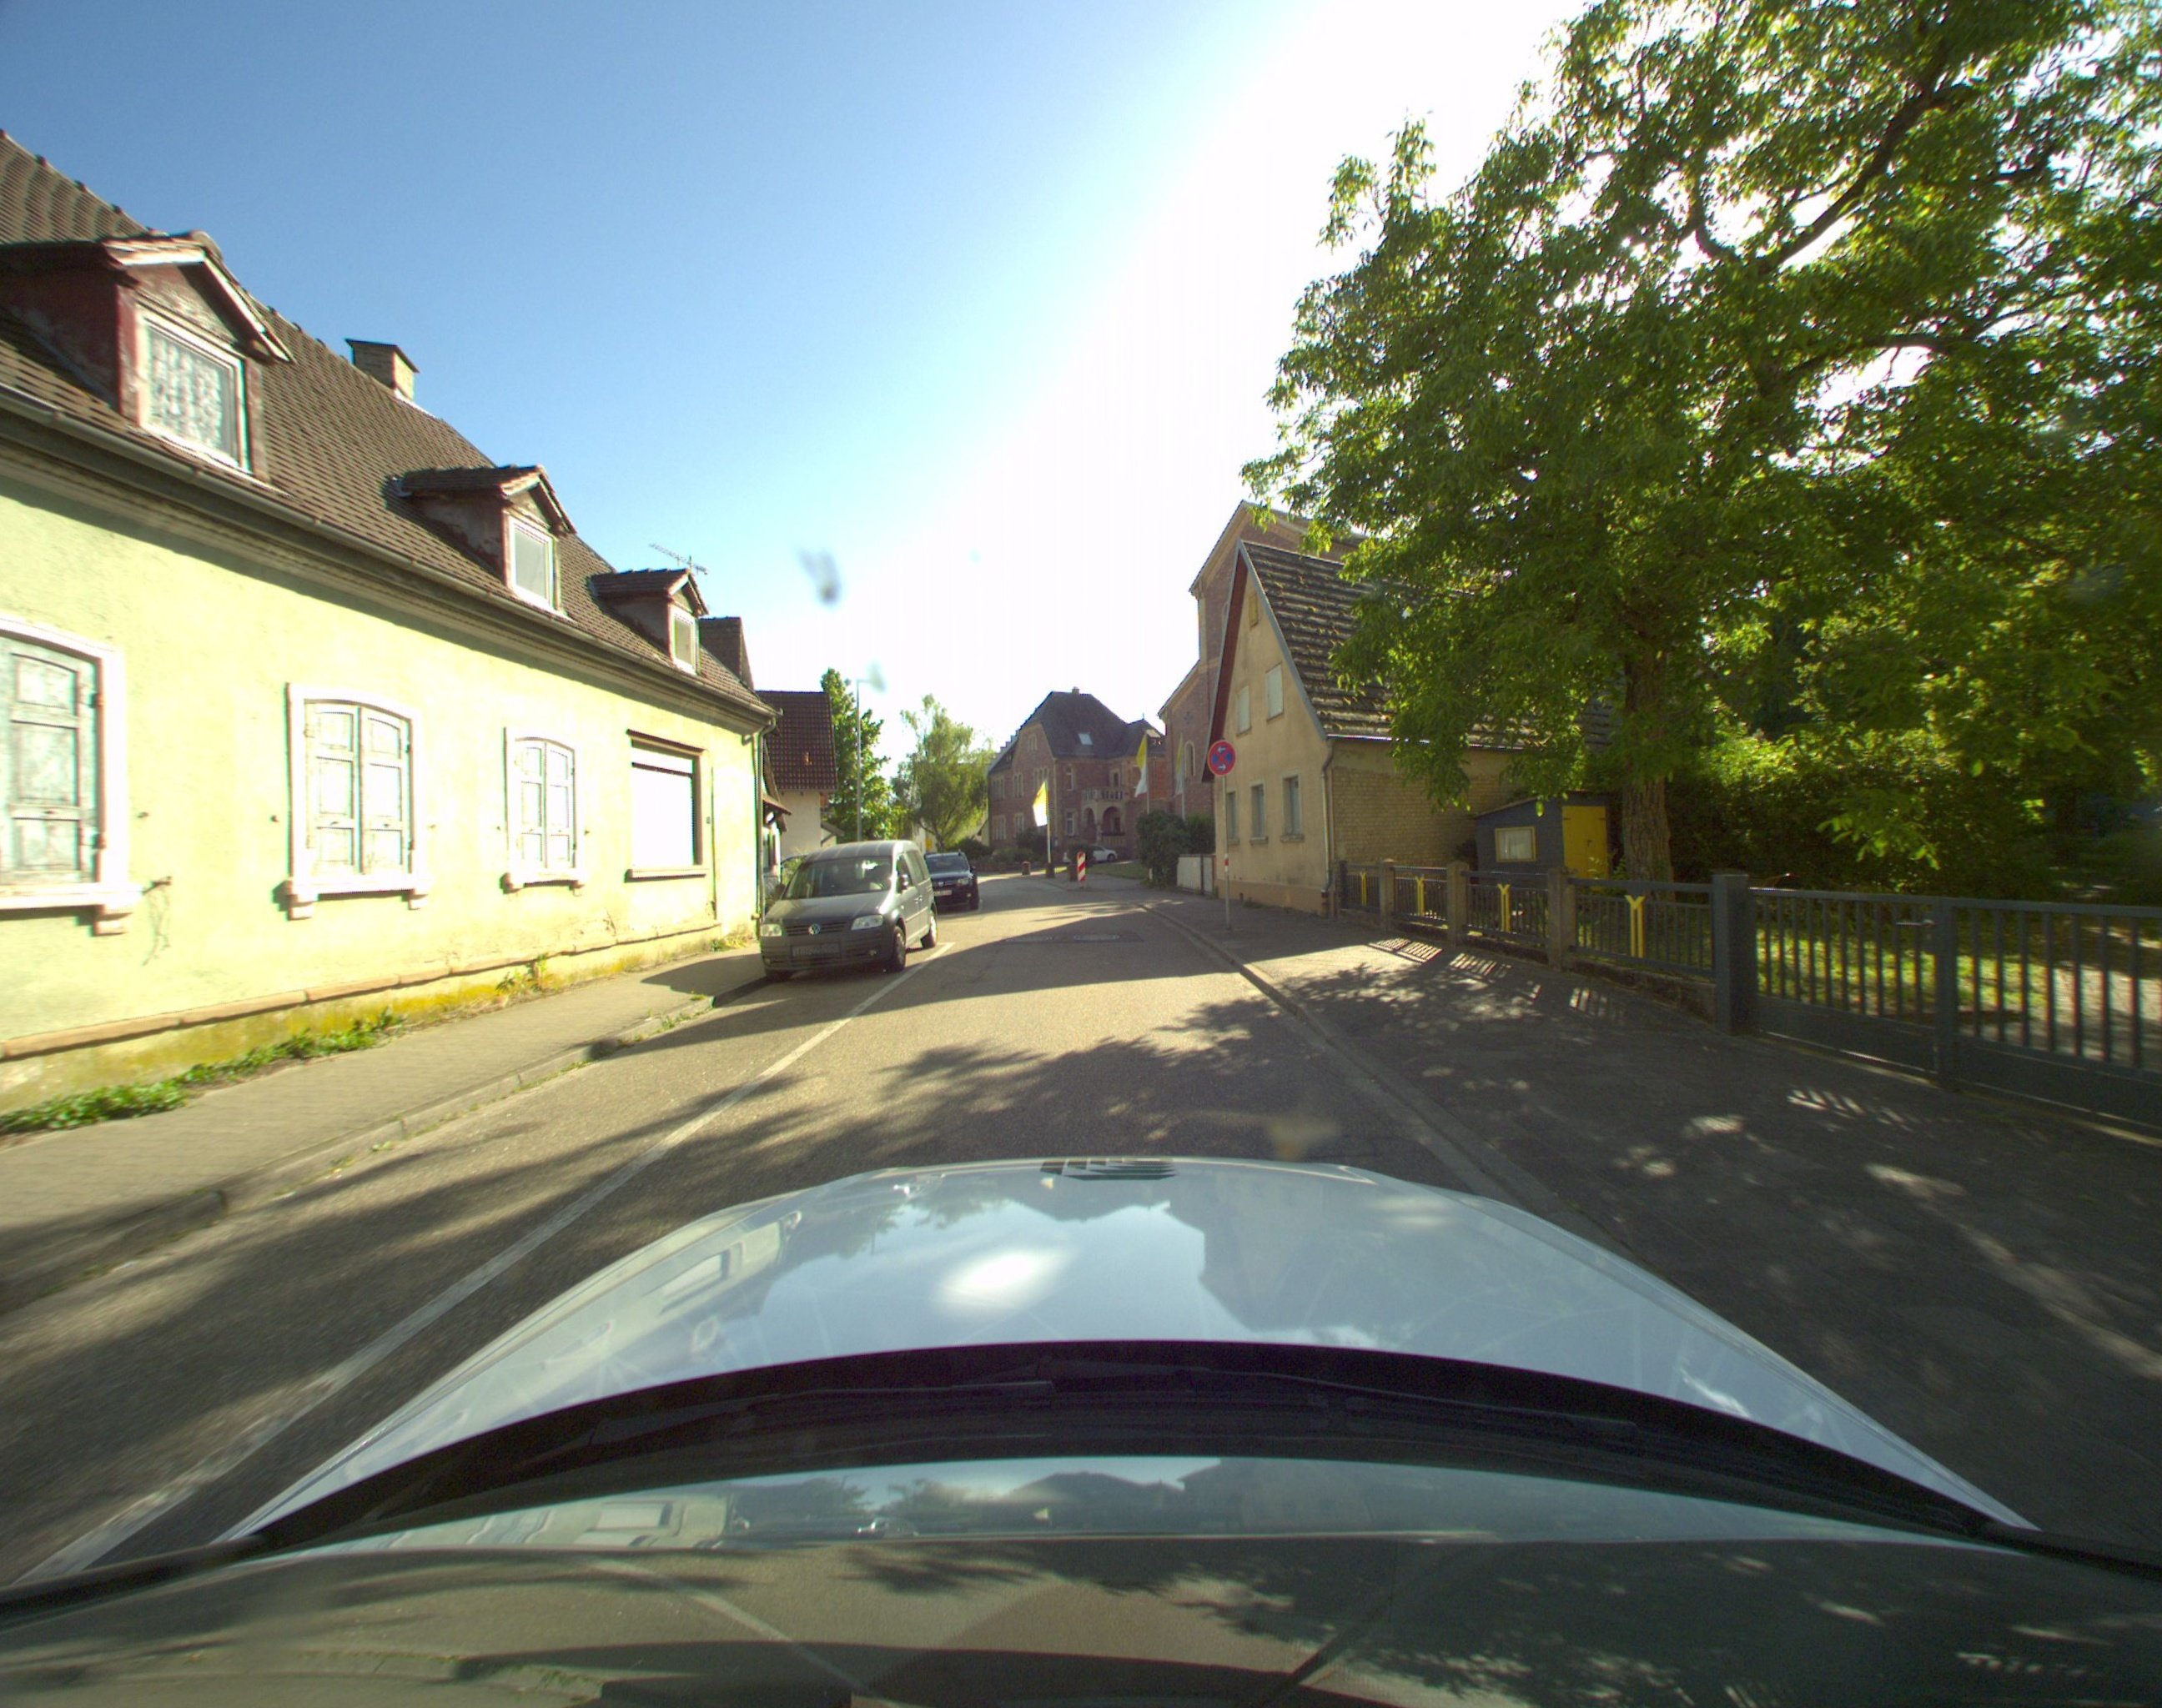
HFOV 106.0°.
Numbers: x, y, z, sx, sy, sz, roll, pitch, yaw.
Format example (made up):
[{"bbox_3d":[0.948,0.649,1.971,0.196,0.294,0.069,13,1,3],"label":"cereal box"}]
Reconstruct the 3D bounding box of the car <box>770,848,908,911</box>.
[{"bbox_3d":[-8.043,0.795,27.284,4.198,1.732,1.821,-4,1,-17],"label":"car"}]

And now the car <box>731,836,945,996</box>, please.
[{"bbox_3d":[-3.304,0.724,12.000,1.820,1.814,4.200,-4,1,-1],"label":"car"}]

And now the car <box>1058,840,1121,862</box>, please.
[{"bbox_3d":[0.632,-0.222,59.422,4.262,1.400,1.701,-3,1,-31],"label":"car"}]

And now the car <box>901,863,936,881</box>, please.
[{"bbox_3d":[-14.140,1.532,70.749,1.723,1.400,4.208,-2,1,-29],"label":"car"}]

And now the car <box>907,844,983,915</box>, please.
[{"bbox_3d":[-3.827,0.647,23.183,1.825,1.732,4.189,-4,1,-9],"label":"car"}]
